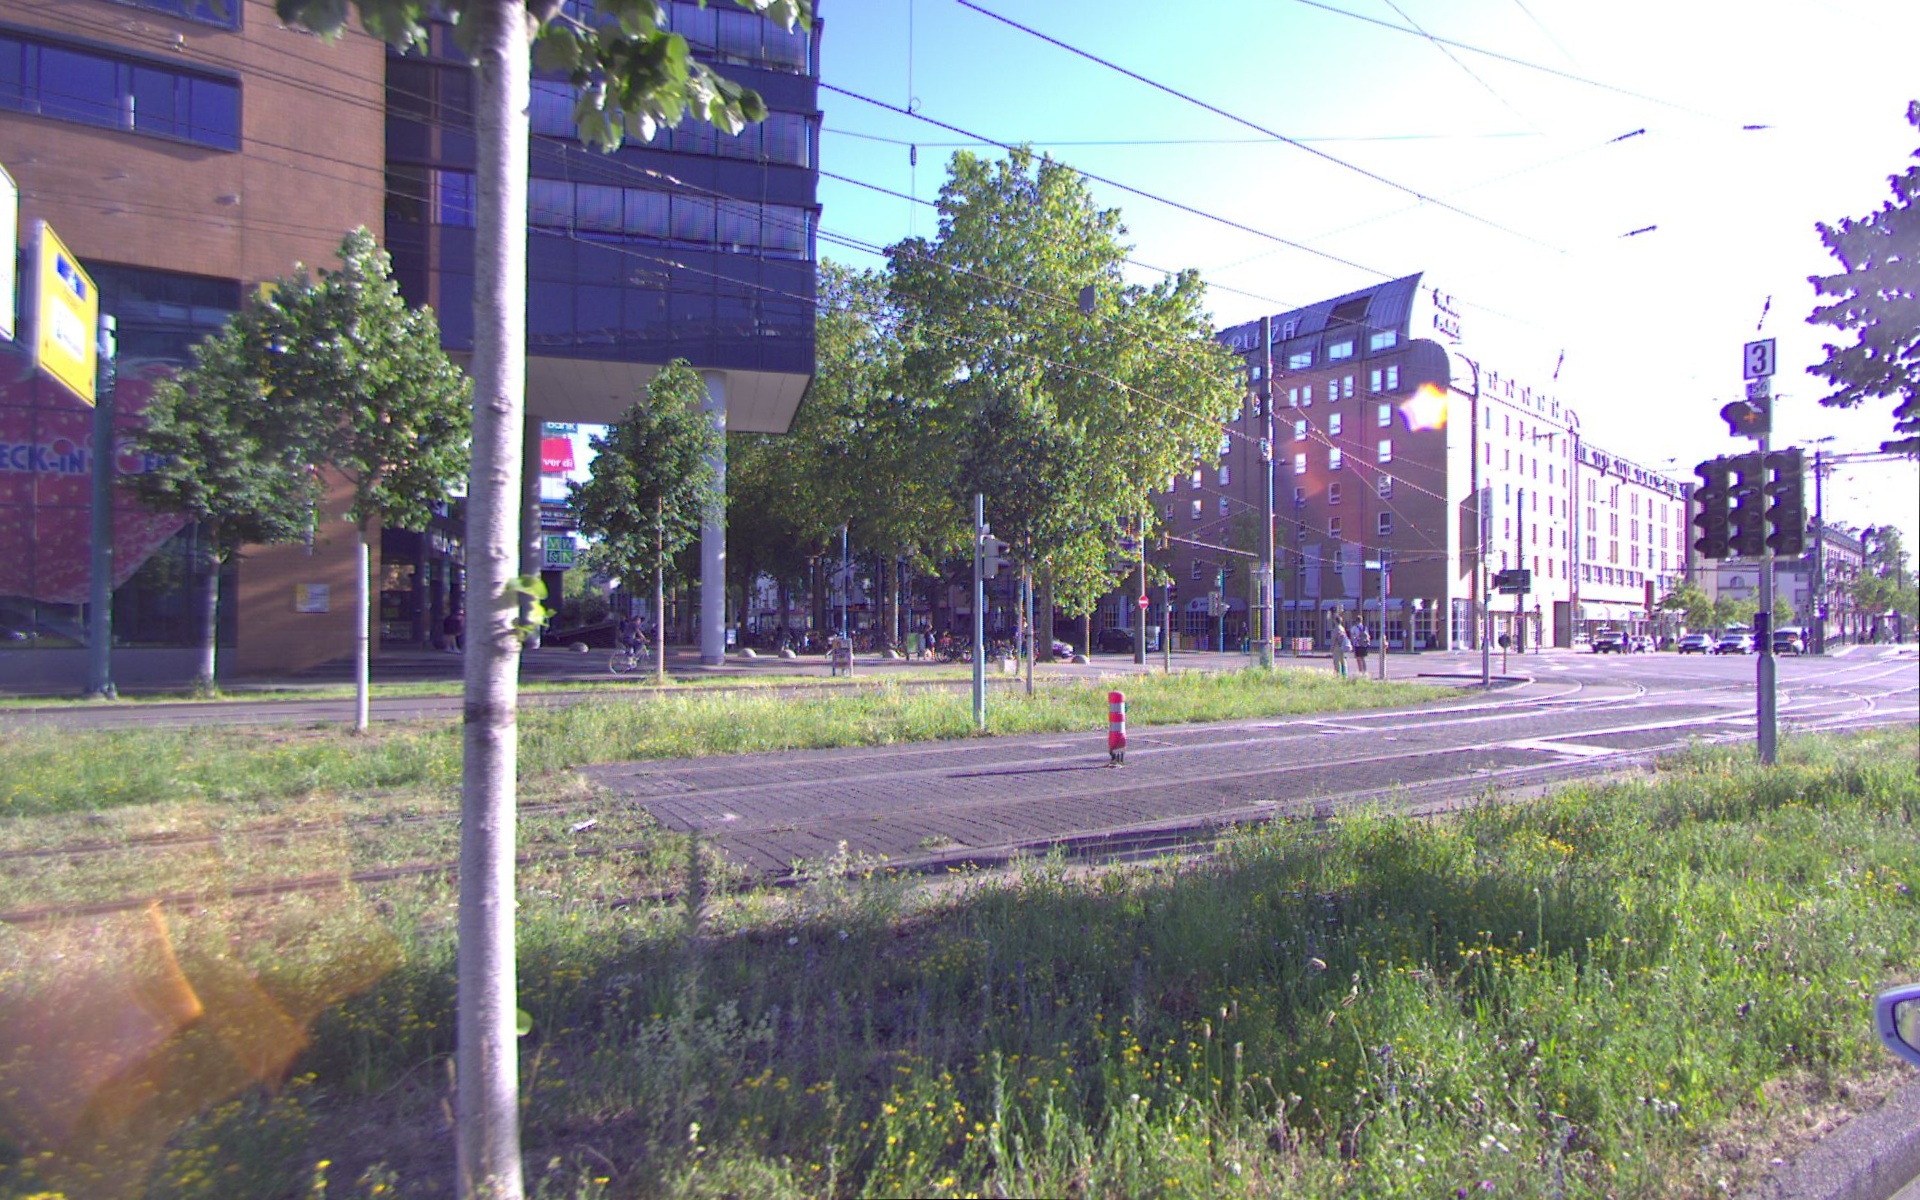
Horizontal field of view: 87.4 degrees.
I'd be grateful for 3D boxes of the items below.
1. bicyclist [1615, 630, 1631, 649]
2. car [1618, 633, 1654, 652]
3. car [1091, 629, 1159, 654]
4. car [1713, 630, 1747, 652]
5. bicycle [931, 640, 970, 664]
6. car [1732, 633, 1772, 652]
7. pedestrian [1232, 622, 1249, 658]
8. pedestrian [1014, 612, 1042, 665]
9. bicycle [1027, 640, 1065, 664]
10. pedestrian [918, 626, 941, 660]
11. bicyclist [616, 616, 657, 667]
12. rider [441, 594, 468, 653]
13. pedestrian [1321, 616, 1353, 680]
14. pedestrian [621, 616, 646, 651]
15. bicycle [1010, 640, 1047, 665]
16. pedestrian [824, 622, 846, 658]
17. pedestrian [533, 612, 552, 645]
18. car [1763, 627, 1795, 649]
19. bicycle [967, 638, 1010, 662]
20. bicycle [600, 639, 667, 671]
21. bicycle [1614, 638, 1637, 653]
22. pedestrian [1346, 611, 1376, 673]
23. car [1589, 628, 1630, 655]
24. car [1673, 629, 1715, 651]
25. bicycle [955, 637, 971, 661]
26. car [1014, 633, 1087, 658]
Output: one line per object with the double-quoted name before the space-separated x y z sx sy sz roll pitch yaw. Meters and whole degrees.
"bicyclist" 48.620 2.894 73.642 0.943 1.393 0.751 1 -1 -39
"car" 57.864 3.615 85.936 3.974 1.530 1.866 2 -2 -45
"car" 9.822 2.464 60.083 1.744 1.439 3.958 1 -2 -37
"car" 56.742 2.992 73.969 1.725 1.524 3.860 -1 -2 41
"bicycle" -0.402 2.150 41.663 1.747 0.964 0.538 -1 -2 44
"car" 63.457 3.359 80.442 3.962 1.468 1.562 1 -2 -36
"pedestrian" 16.358 2.328 58.540 0.670 2.040 0.662 1 -1 -30
"pedestrian" 2.666 1.521 39.539 0.827 2.040 0.730 1 0 -27
"bicycle" 3.641 2.213 42.591 0.536 0.964 1.752 1 -1 -38
"pedestrian" -1.464 2.051 47.987 0.827 1.619 0.730 1 0 -27
"bicyclist" -9.799 1.245 30.399 1.006 1.485 0.673 1 0 -34
"rider" -15.905 0.738 31.585 0.704 1.826 0.714 1 -1 -31
"pedestrian" 11.071 1.406 29.525 0.657 1.854 0.627 1 -1 -38
"pedestrian" -16.577 1.712 51.006 1.091 1.730 0.789 1 0 -15
"bicycle" 2.872 2.196 42.261 0.536 0.964 1.752 1 -1 -38
"pedestrian" -5.846 1.859 47.019 0.827 1.667 0.730 1 -1 -27
"pedestrian" -22.103 1.506 53.171 0.794 1.730 0.789 1 0 -14
"car" 59.532 2.740 72.992 1.725 1.524 3.860 -1 -2 41
"bicycle" 1.165 2.060 41.660 1.741 0.964 0.540 0 -1 33
"bicycle" -9.866 1.638 30.364 1.869 0.923 0.495 1 -1 -35
"bicycle" 48.945 3.346 73.862 2.902 1.099 0.644 1 -1 -40
"pedestrian" 12.002 1.242 30.069 0.657 1.841 0.559 1 -1 -38
"car" 52.371 3.320 80.945 3.974 2.040 1.974 2 -2 -45
"car" 57.184 3.077 78.253 4.708 1.617 1.974 2 -2 -45
"bicycle" 0.141 2.112 43.302 0.530 0.964 1.772 0 -1 5
"car" 4.855 2.422 54.246 1.978 1.283 3.965 1 -2 -32
